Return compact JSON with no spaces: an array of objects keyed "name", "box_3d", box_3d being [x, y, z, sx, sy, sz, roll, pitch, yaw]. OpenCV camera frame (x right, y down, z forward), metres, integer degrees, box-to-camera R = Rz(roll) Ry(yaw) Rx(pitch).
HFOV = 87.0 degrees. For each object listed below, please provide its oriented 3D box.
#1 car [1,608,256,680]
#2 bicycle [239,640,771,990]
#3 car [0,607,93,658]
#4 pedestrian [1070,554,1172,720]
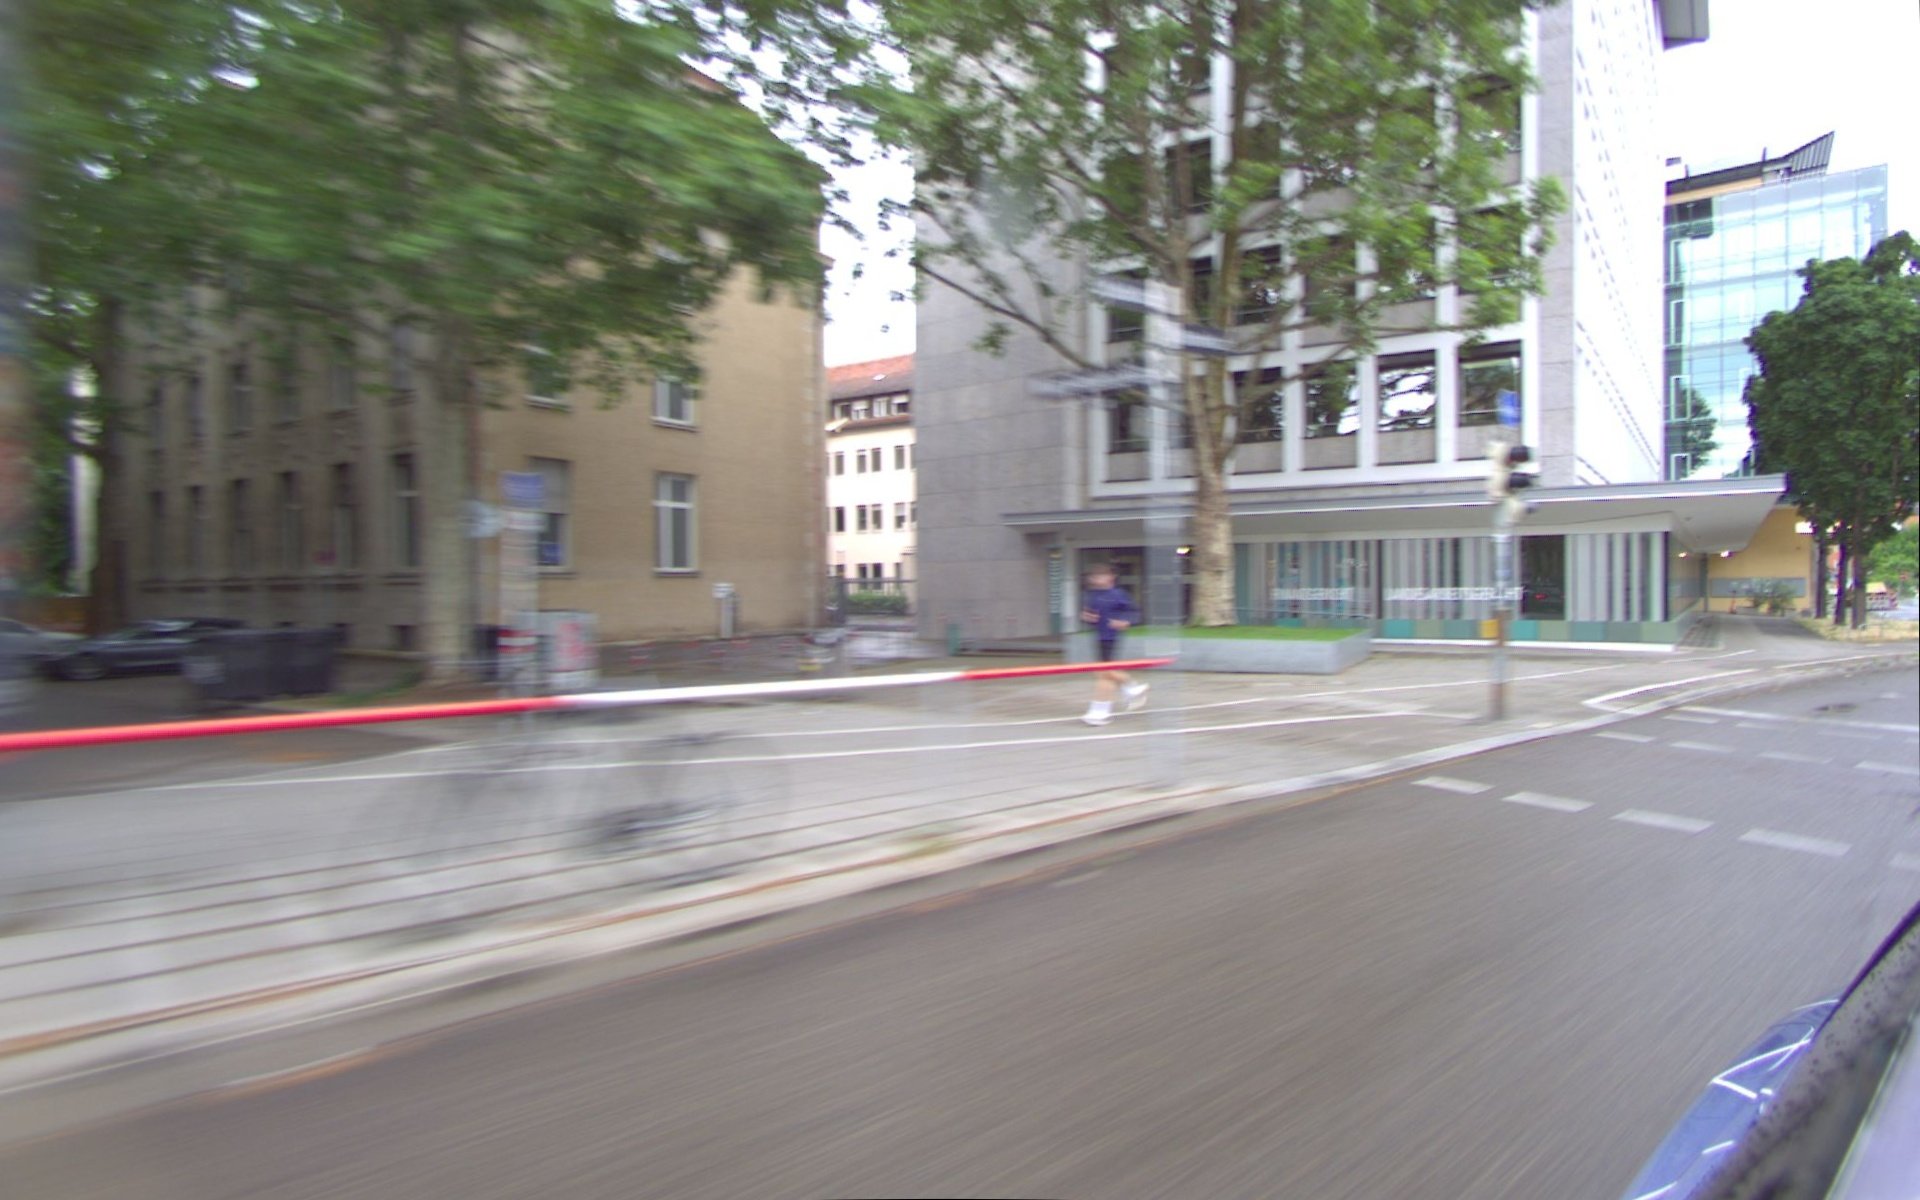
[{"name":"car","box_3d":[-20.255,0.991,24.862,1.875,1.481,4.490,3,1,32]},{"name":"bicycle","box_3d":[-1.687,0.711,4.042,0.489,1.025,1.897,-1,0,45]},{"name":"car","box_3d":[-30.365,1.002,31.608,1.873,1.481,4.630,3,1,29]},{"name":"pedestrian","box_3d":[1.833,0.398,11.545,0.847,1.794,0.781,0,0,-37]}]
